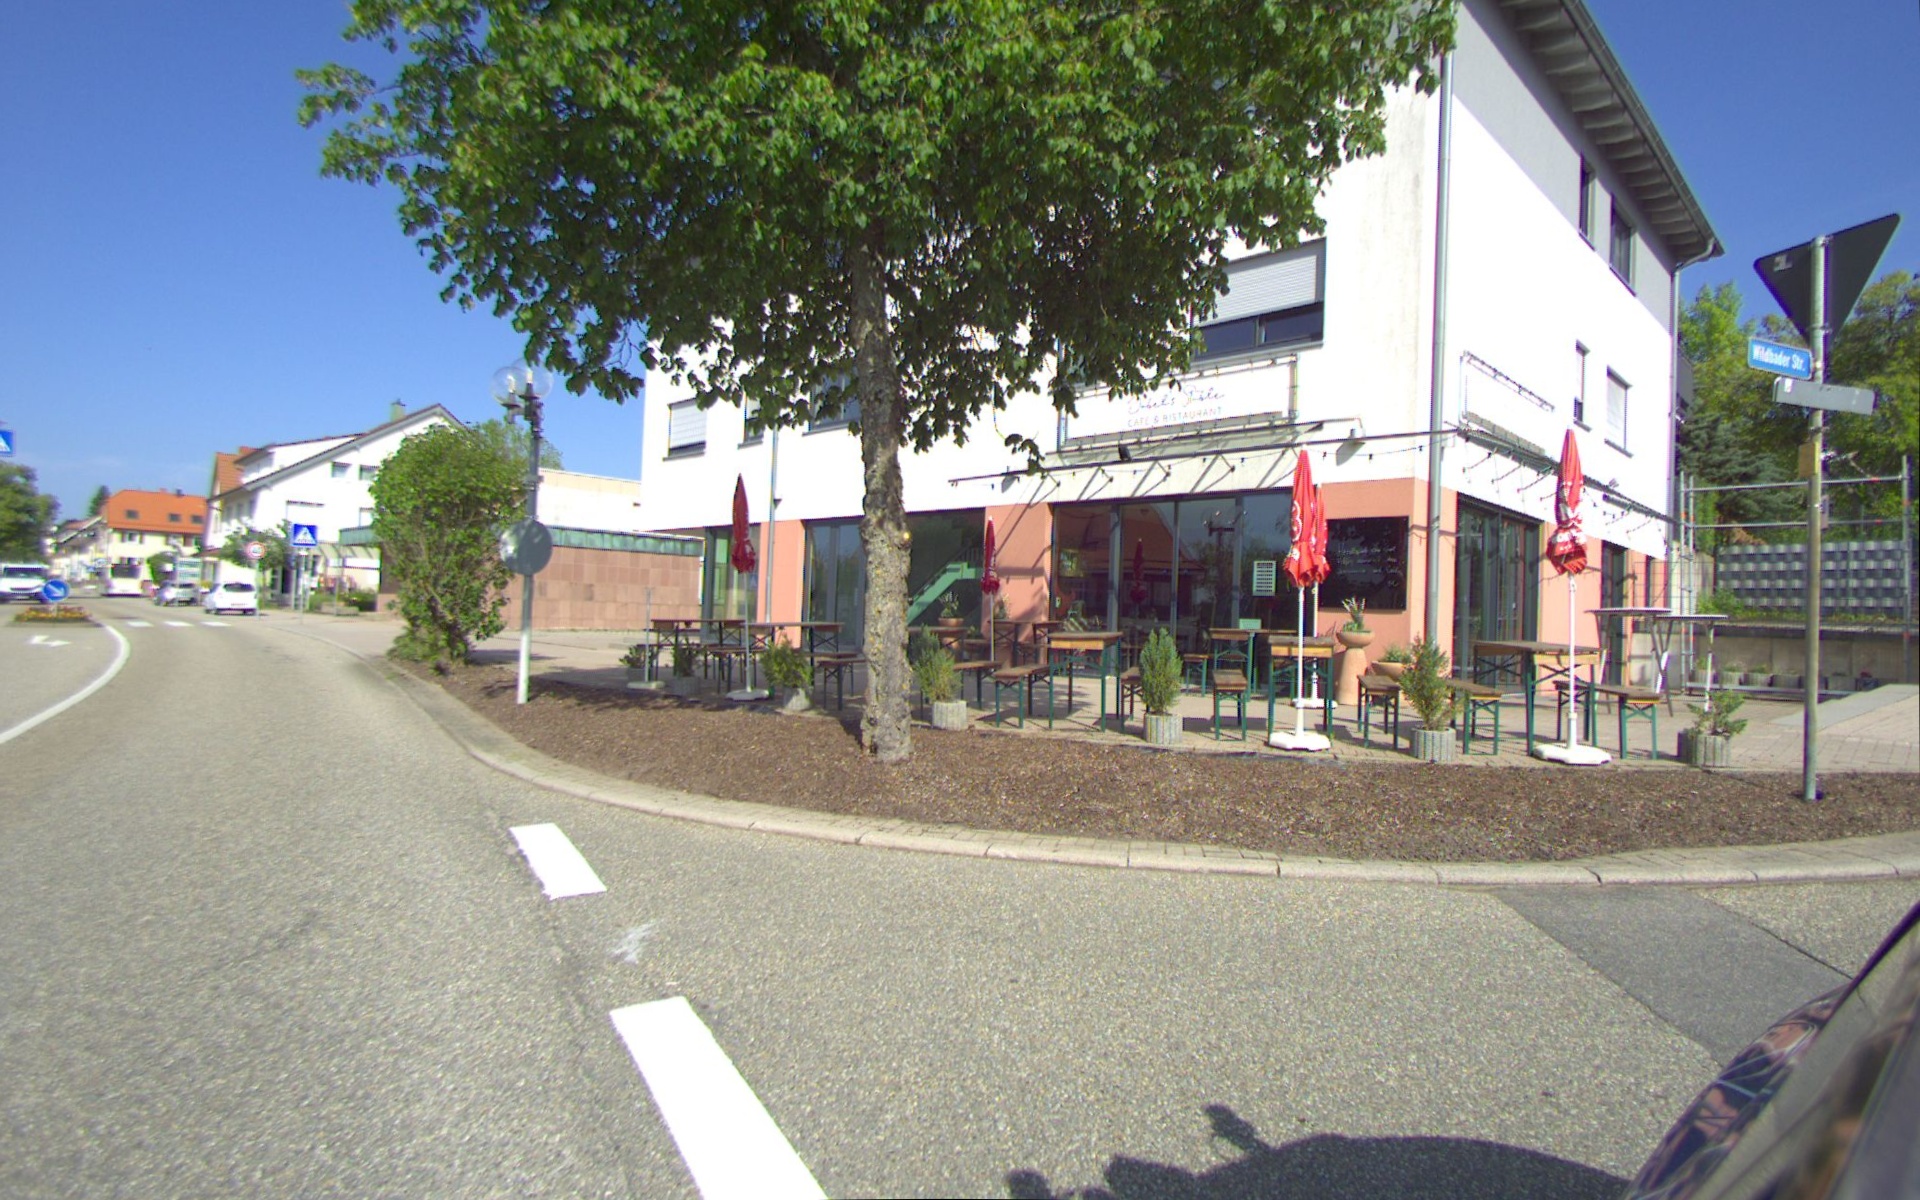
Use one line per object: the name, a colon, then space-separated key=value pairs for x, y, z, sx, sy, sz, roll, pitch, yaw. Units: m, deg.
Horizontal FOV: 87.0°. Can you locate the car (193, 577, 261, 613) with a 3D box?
car: x=-32.468 y=-0.230 z=44.801 sx=3.701 sy=1.486 sz=1.749 roll=1 pitch=3 yaw=43

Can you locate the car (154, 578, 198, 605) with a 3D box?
car: x=-45.108 y=-0.517 z=58.229 sx=1.746 sy=1.451 sz=3.707 roll=-3 pitch=3 yaw=-41

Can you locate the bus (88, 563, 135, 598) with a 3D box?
bus: x=-81.526 y=-1.772 z=97.132 sx=2.672 sy=3.053 sz=15.186 roll=0 pitch=0 yaw=-43

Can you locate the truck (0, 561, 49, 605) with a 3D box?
truck: x=-53.379 y=-1.005 z=57.677 sx=1.965 sy=2.371 sz=6.485 roll=0 pitch=1 yaw=-41
